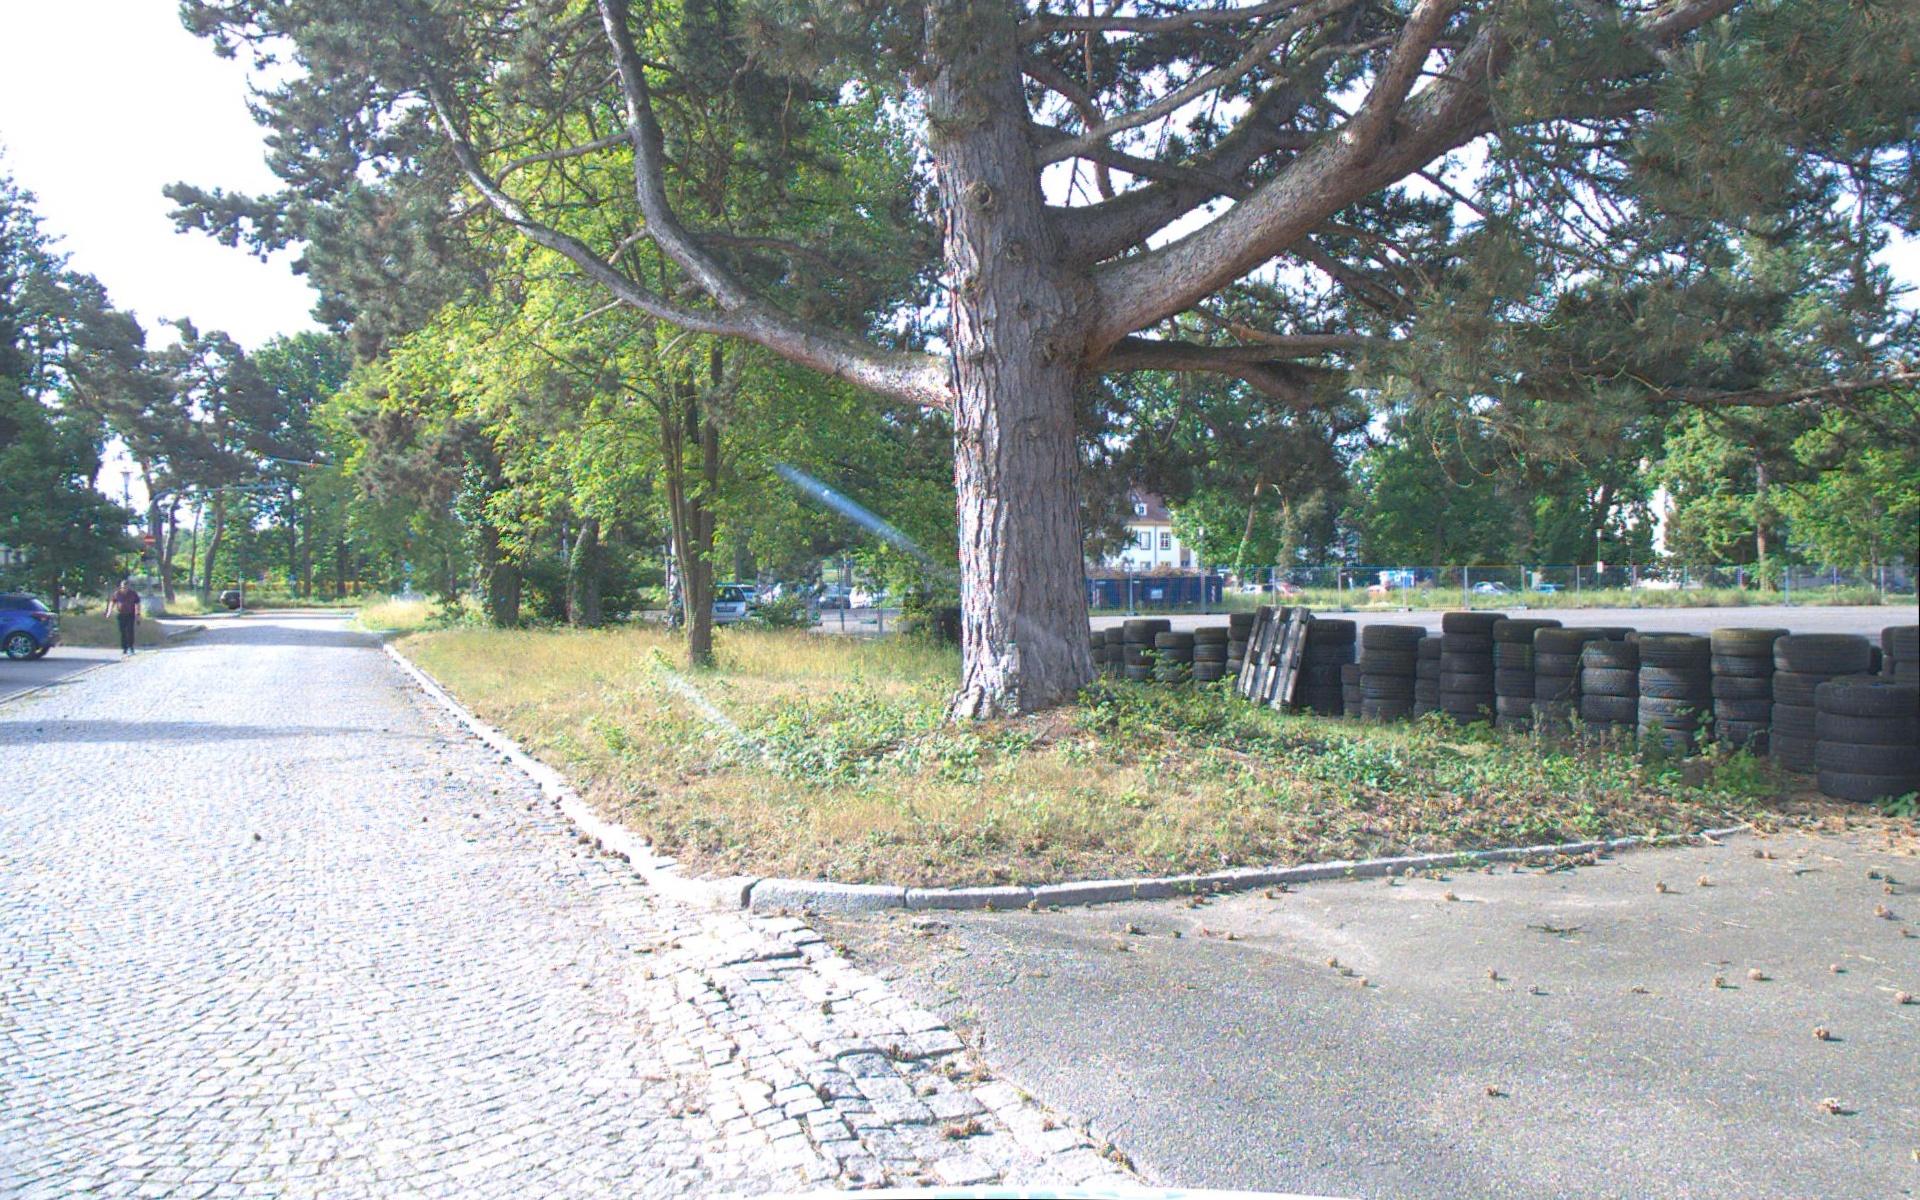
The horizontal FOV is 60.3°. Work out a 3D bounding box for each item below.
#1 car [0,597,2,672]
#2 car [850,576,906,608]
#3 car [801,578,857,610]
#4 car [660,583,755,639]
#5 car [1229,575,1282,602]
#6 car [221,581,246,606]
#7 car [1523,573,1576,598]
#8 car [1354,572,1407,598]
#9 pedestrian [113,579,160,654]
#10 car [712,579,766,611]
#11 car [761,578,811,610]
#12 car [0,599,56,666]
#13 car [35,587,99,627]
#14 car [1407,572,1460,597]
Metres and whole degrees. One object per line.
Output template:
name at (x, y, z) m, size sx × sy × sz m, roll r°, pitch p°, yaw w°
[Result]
car at (-18.510, 0.655, 28.778) m, size 3.046 × 1.483 × 1.479 m, roll 2°, pitch -1°, yaw -27°
car at (-4.543, -0.446, 91.062) m, size 1.965 × 1.646 × 3.975 m, roll -1°, pitch 1°, yaw -21°
car at (-7.113, -0.330, 89.687) m, size 1.965 × 1.646 × 3.975 m, roll -1°, pitch 1°, yaw -21°
car at (-7.495, 0.285, 48.762) m, size 1.861 × 1.568 × 3.972 m, roll 0°, pitch 0°, yaw -23°
car at (20.143, -0.803, 112.825) m, size 1.961 × 1.780 × 3.982 m, roll -1°, pitch 1°, yaw -16°
car at (-59.726, -0.538, 135.984) m, size 1.673 × 2.049 × 3.975 m, roll -1°, pitch 0°, yaw -21°
car at (43.475, -1.048, 122.051) m, size 1.958 × 1.780 × 3.989 m, roll -1°, pitch 1°, yaw -12°
car at (29.590, -1.053, 116.438) m, size 1.961 × 1.780 × 3.983 m, roll -1°, pitch 1°, yaw -15°
pedestrian at (-20.991, 0.398, 42.159) m, size 0.948 × 1.876 × 0.944 m, roll -1°, pitch 0°, yaw -36°
car at (-11.693, -0.266, 87.237) m, size 1.965 × 1.646 × 3.975 m, roll -1°, pitch 1°, yaw -21°
car at (-9.323, -0.322, 88.479) m, size 1.794 × 1.646 × 3.978 m, roll -1°, pitch 1°, yaw -19°
car at (-22.160, 0.727, 37.301) m, size 3.048 × 1.475 × 1.478 m, roll -1°, pitch 0°, yaw -28°
car at (-39.074, 0.291, 72.444) m, size 1.965 × 1.646 × 3.975 m, roll -1°, pitch 1°, yaw -21°
car at (33.840, -1.099, 118.327) m, size 1.960 × 1.780 × 3.985 m, roll -1°, pitch 1°, yaw -14°
